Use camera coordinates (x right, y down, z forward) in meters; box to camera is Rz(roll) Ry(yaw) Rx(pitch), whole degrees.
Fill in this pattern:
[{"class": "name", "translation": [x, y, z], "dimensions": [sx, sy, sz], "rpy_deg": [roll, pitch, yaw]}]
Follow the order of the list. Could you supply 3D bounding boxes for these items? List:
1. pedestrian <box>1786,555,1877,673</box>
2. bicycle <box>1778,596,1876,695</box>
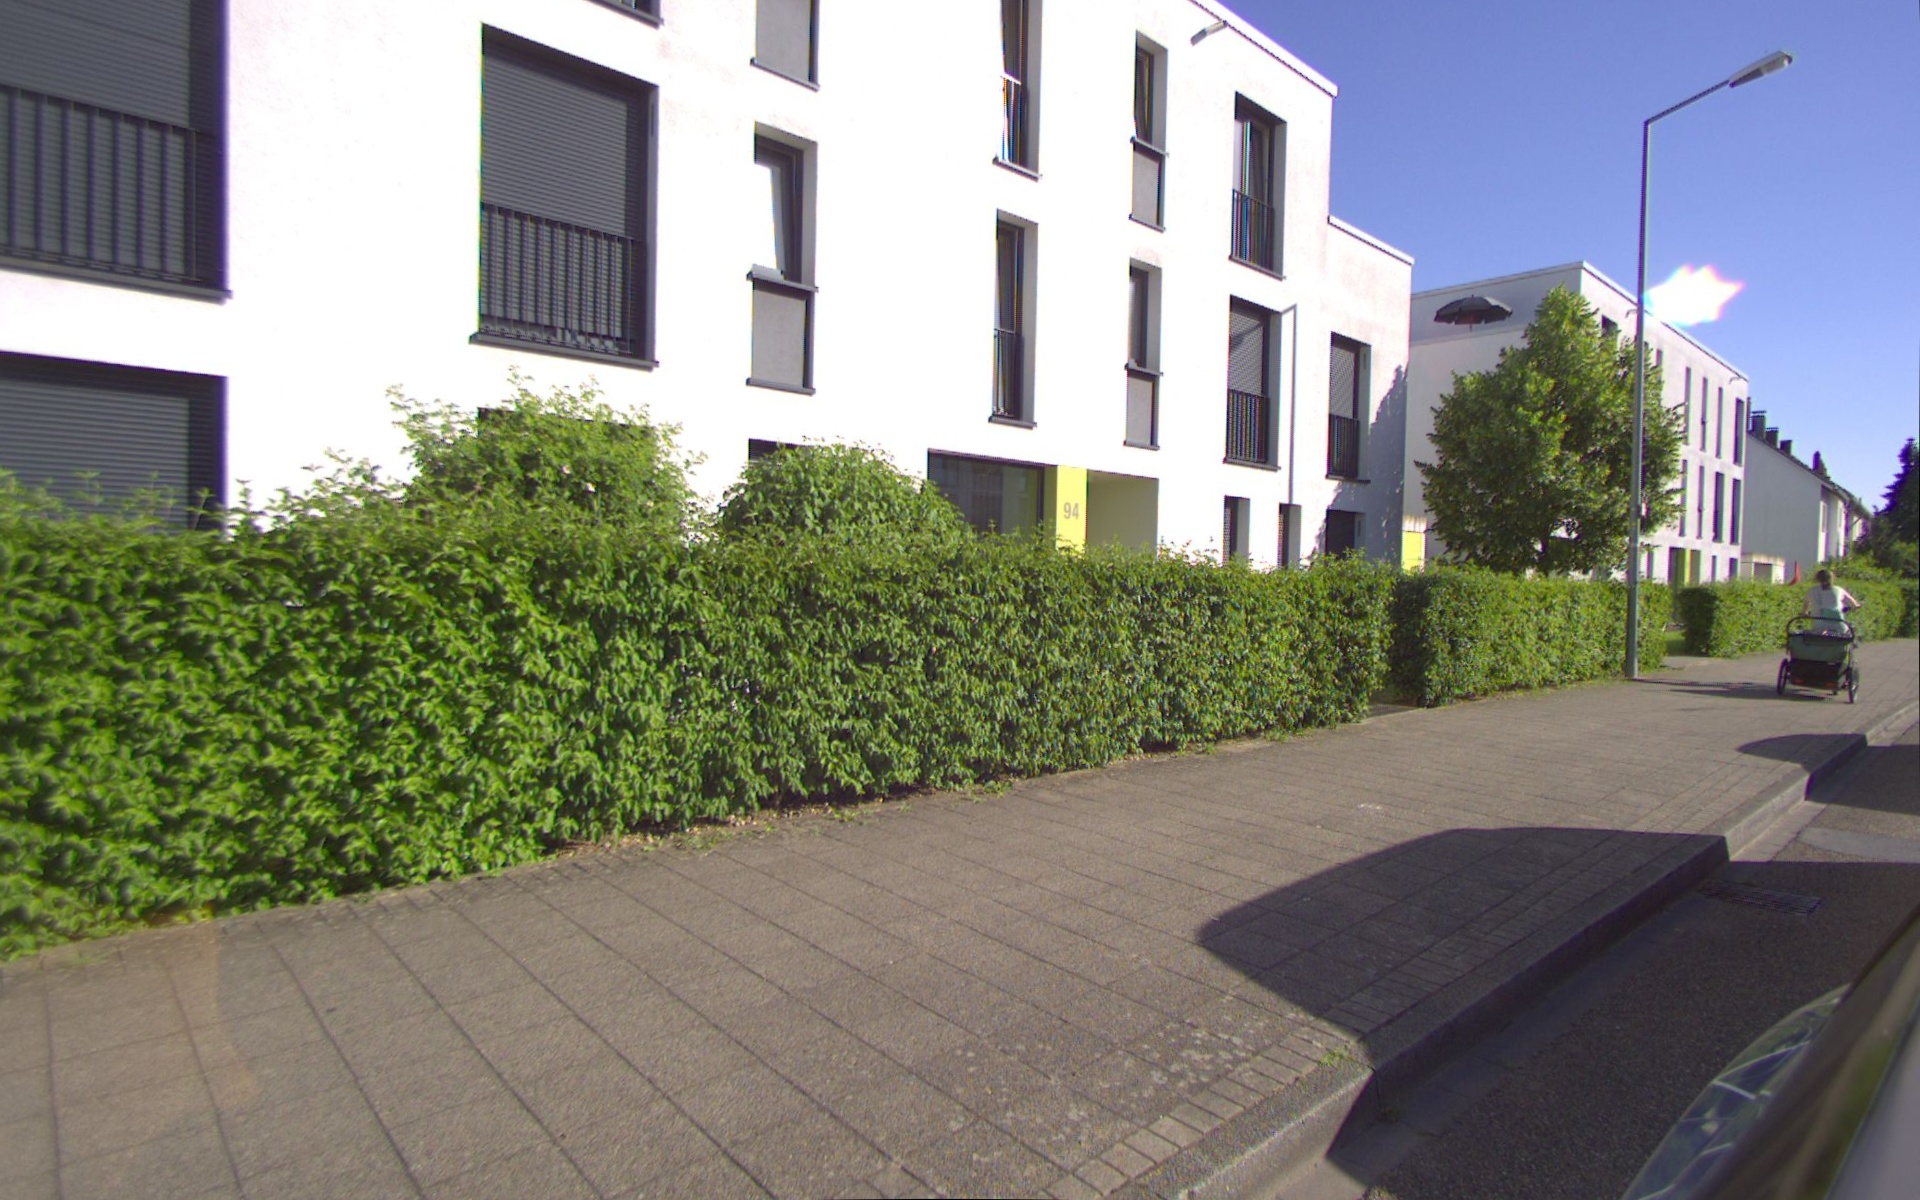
[{"class": "pedestrian", "translation": [12.570, 0.175, 14.601], "dimensions": [0.911, 1.613, 0.841], "rpy_deg": [3, 2, 43]}, {"class": "bicycle", "translation": [12.277, 0.577, 14.292], "dimensions": [0.928, 1.187, 3.078], "rpy_deg": [3, 3, 42]}]
